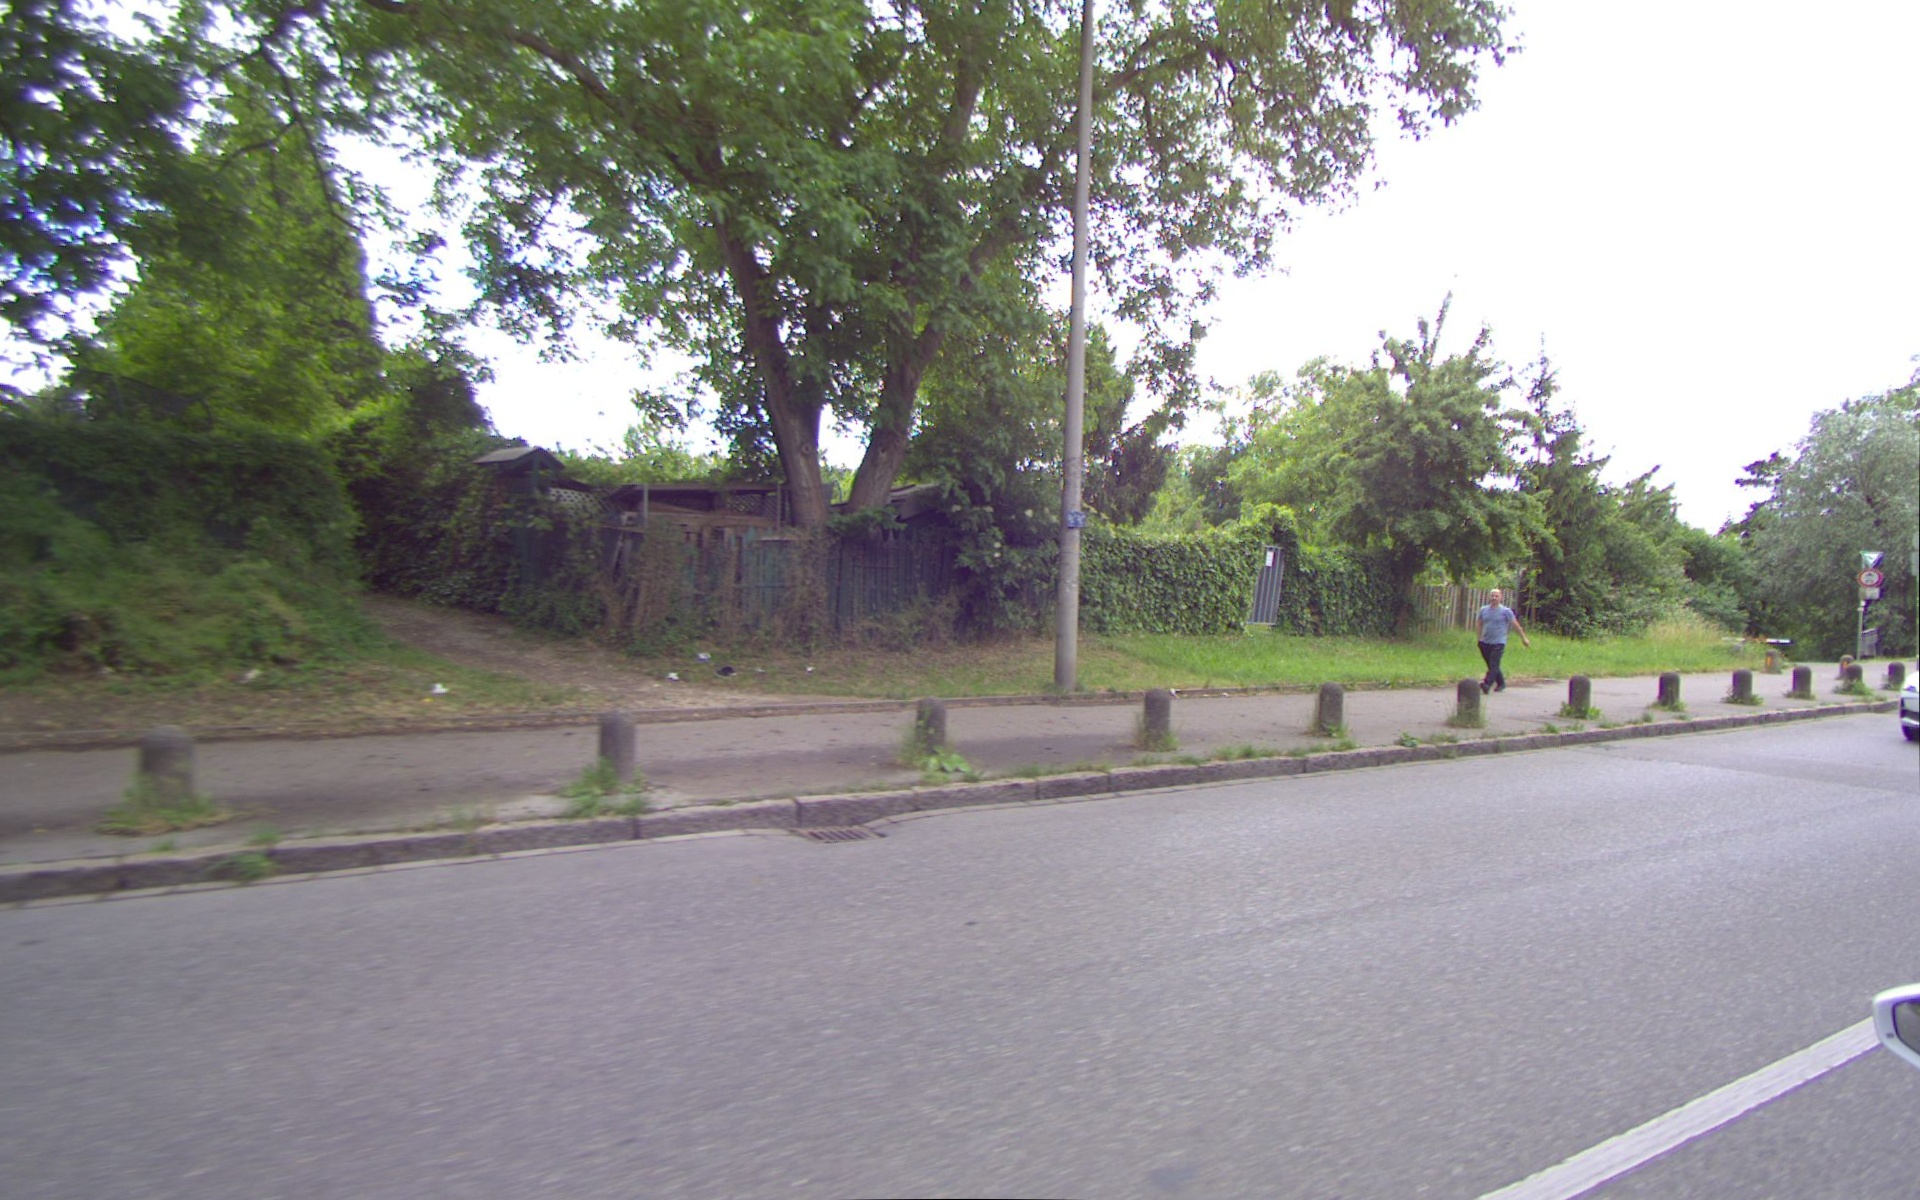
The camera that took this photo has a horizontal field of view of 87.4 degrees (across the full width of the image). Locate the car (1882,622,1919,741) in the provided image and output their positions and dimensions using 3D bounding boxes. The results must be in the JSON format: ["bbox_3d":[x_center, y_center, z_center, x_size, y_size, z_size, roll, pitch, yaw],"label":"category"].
[{"bbox_3d":[13.867,1.033,13.021,4.313,1.458,1.763,1,0,-32],"label":"car"}]

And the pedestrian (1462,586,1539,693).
[{"bbox_3d":[8.695,0.620,16.174,0.828,1.656,0.686,1,3,-30],"label":"pedestrian"}]
